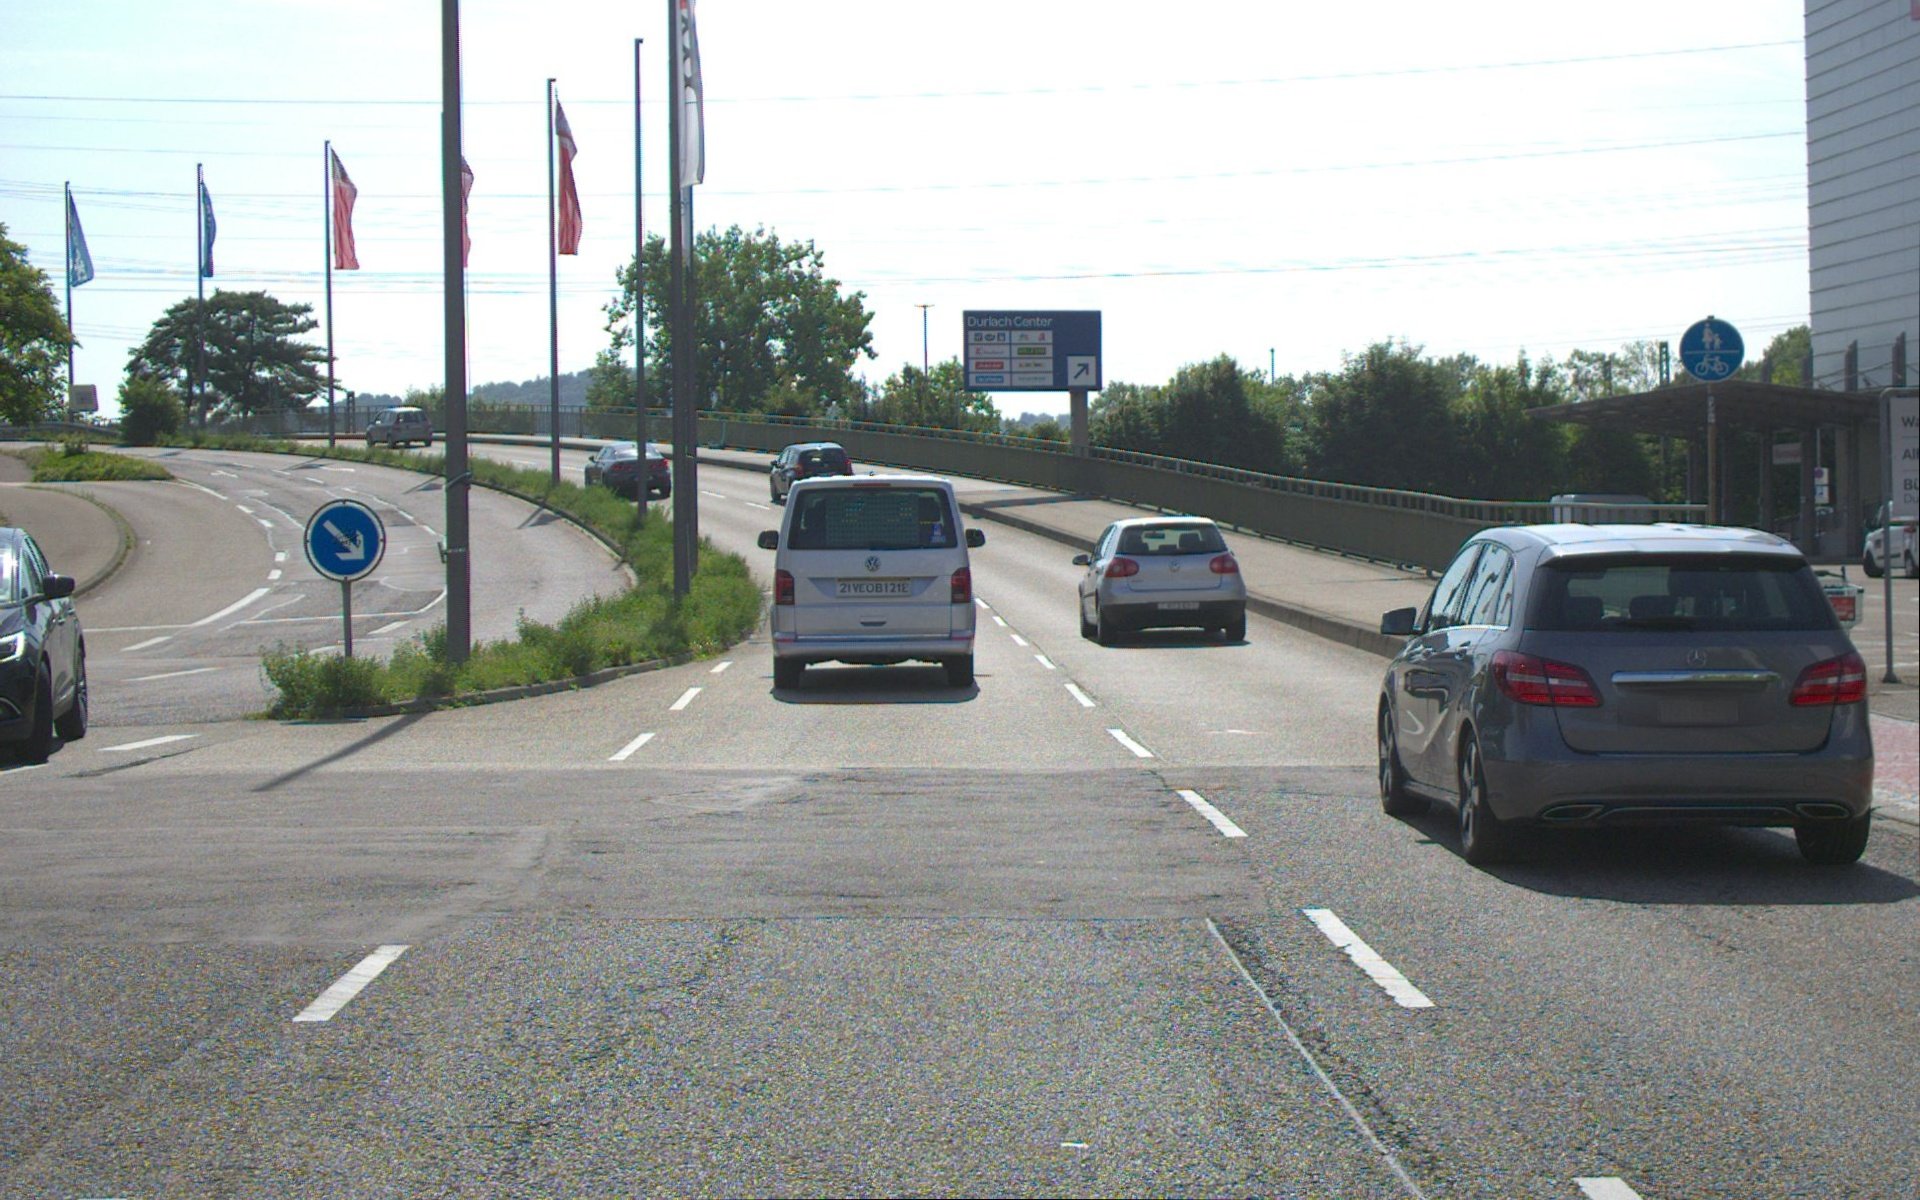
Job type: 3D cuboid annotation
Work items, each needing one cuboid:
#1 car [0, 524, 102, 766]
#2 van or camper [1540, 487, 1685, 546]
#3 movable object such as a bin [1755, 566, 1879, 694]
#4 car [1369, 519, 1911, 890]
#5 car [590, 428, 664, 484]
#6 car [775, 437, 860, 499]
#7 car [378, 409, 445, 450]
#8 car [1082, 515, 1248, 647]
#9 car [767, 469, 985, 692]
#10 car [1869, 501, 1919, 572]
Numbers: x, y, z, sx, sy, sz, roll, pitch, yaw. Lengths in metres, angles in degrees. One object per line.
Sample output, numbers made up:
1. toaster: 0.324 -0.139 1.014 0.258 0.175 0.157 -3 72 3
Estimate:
1. car: -7.372 0.265 24.719 1.915 1.601 4.273 -1 1 -8
2. van or camper: 26.036 -3.303 137.168 5.419 2.171 2.106 1 0 -24
3. movable object such as a bin: 7.750 0.261 31.129 0.810 1.109 1.182 -1 1 -1
4. car: 3.129 0.397 16.643 1.773 1.533 4.138 0 2 0
5. car: -9.352 -4.019 96.383 1.530 1.475 3.248 0 1 -15
6. car: -3.738 -3.453 89.691 1.530 1.474 3.598 0 4 -13
7. car: -21.507 -6.681 134.768 1.531 1.475 3.426 0 1 -28
8. car: 2.430 -0.263 41.400 1.667 1.409 3.683 -2 2 -1
9. car: -0.738 -0.222 32.731 1.917 1.968 4.297 1 1 0
10. car: 24.333 -1.623 86.570 1.672 1.745 4.094 0 2 -2
